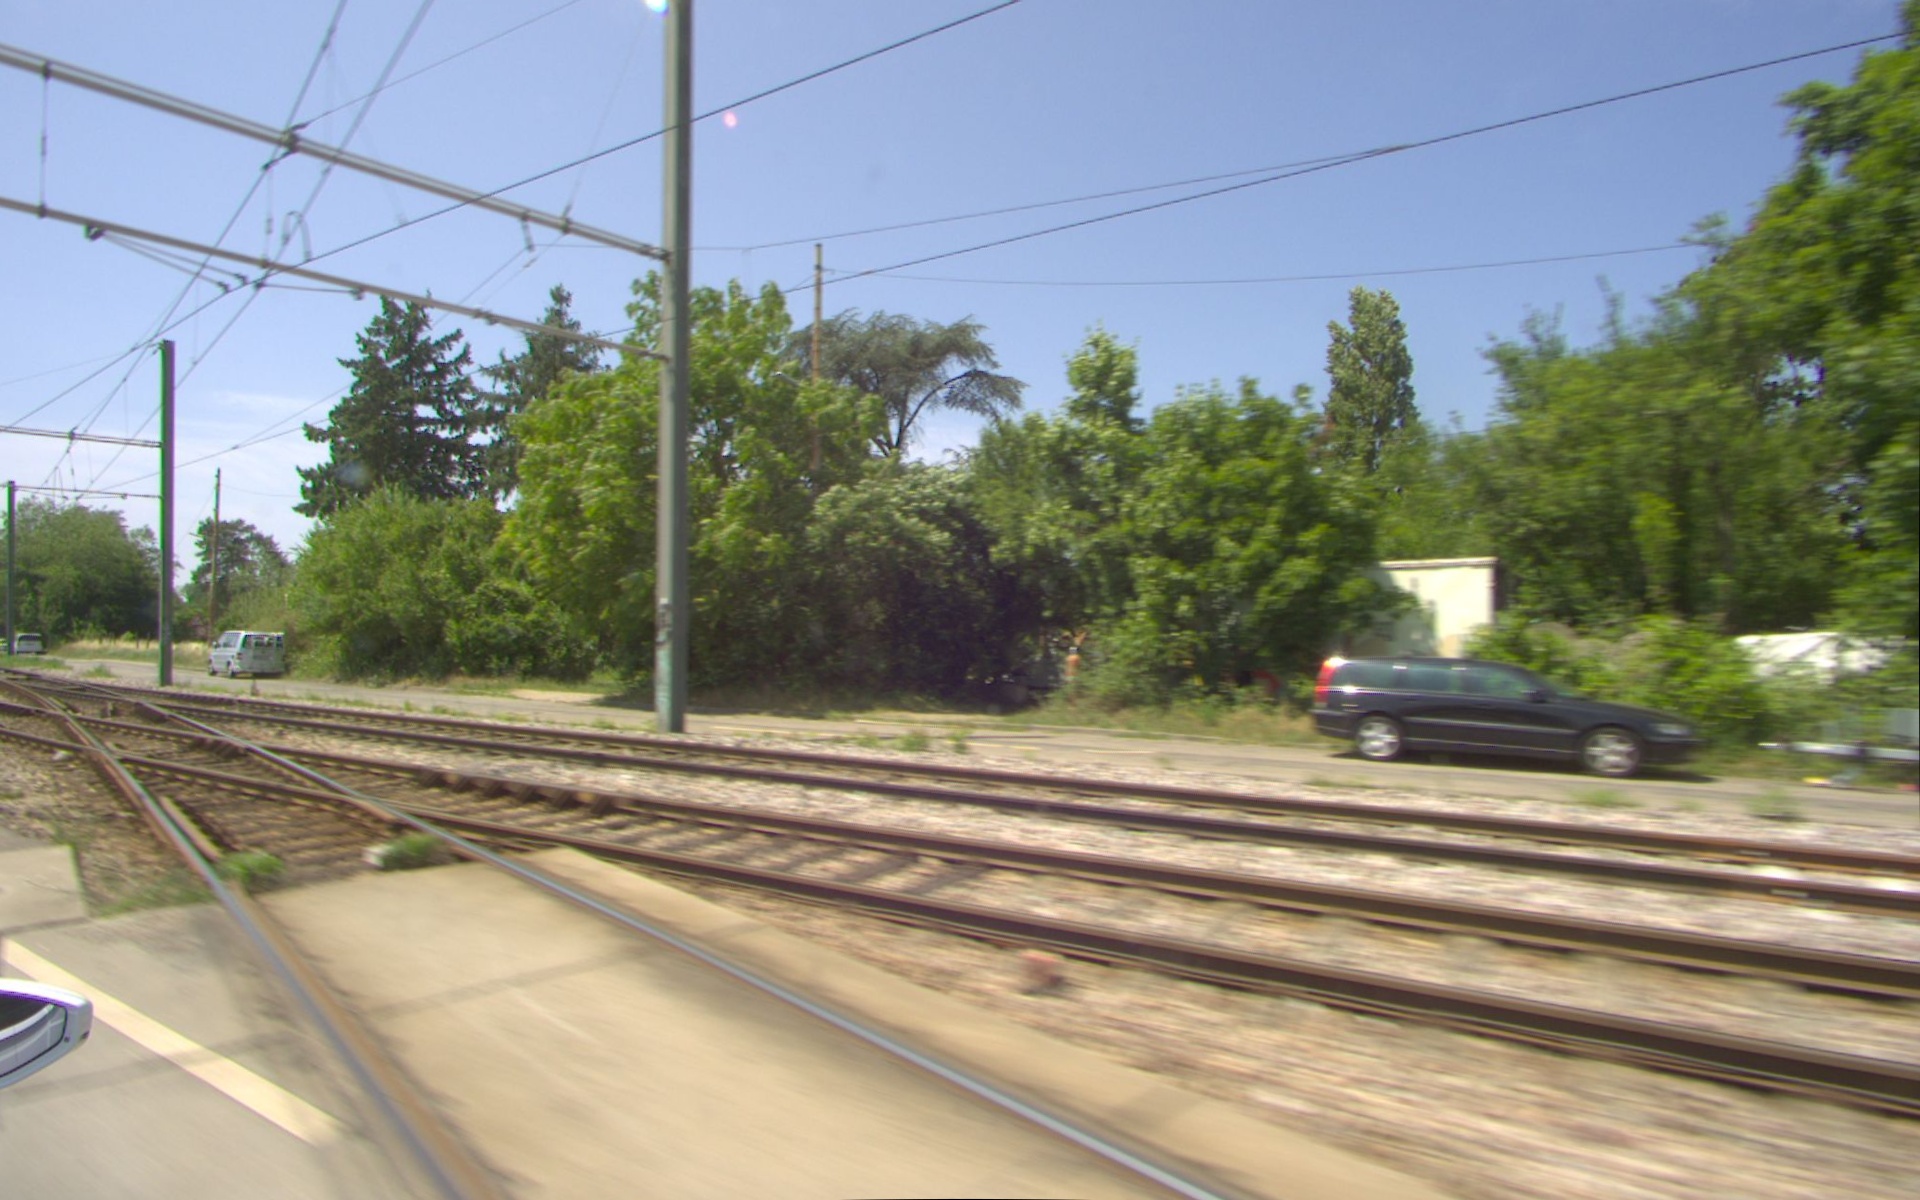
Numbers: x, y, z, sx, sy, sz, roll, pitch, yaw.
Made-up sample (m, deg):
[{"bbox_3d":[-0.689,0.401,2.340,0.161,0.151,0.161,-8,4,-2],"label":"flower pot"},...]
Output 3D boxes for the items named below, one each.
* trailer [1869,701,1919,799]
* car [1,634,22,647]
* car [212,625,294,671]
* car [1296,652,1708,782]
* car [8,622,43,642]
[{"bbox_3d":[12.166,1.680,10.328,3.945,1.007,1.417,0,-3,34],"label":"trailer"},{"bbox_3d":[-101.777,4.370,107.414,3.427,1.325,1.421,-2,-2,42],"label":"car"},{"bbox_3d":[-30.767,2.054,43.520,5.017,1.906,2.024,-2,-2,44],"label":"car"},{"bbox_3d":[7.189,1.455,13.626,4.676,1.444,1.792,-2,-2,34],"label":"car"},{"bbox_3d":[-87.947,2.992,94.214,4.741,1.825,1.984,-2,-2,42],"label":"car"}]
